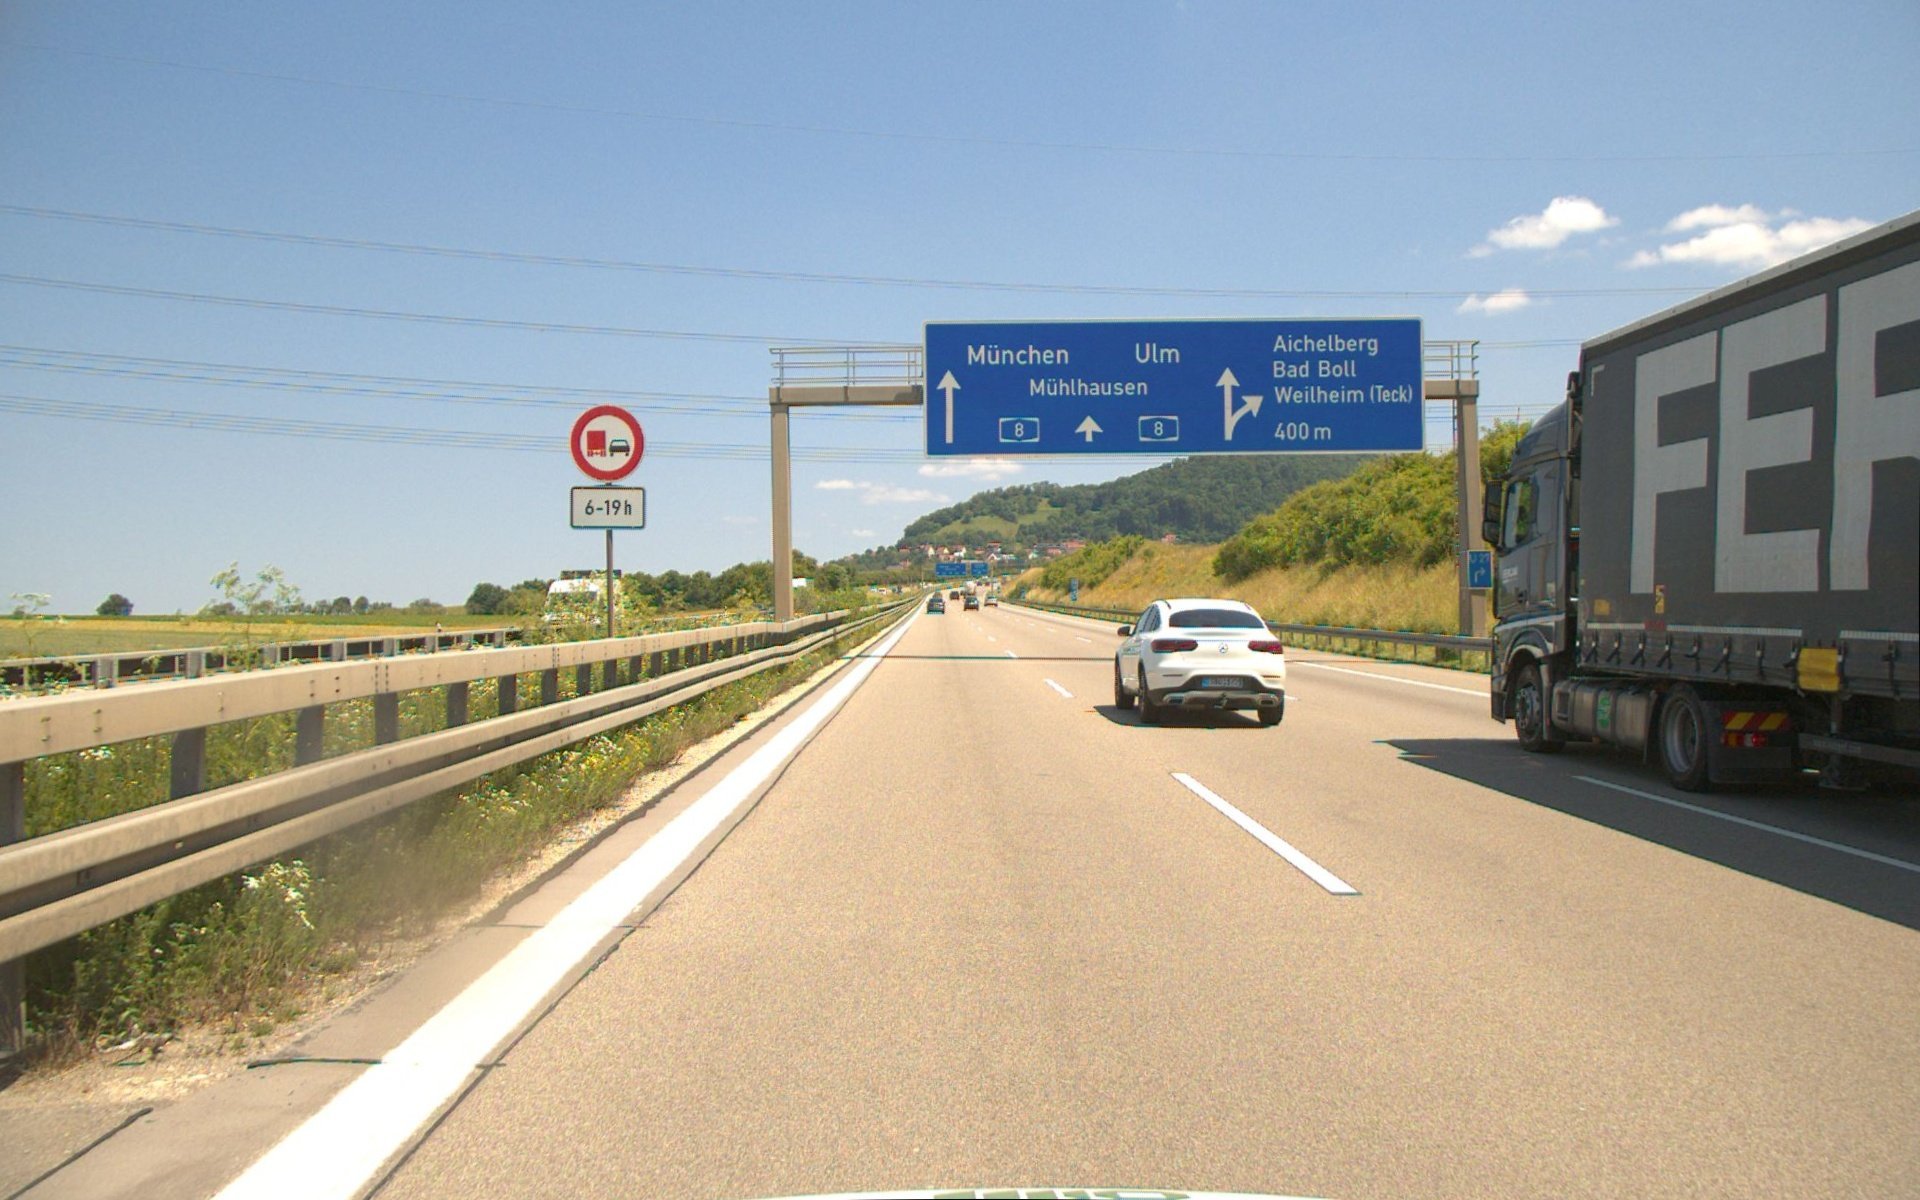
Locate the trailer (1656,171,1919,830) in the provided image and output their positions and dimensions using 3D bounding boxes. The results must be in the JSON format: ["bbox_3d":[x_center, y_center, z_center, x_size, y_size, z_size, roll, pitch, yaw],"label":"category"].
[{"bbox_3d":[7.514,-0.640,8.574,2.670,4.227,11.805,1,0,-1],"label":"trailer"}]

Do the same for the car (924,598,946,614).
[{"bbox_3d":[-2.322,0.581,153.248,1.953,1.413,3.999,1,0,0],"label":"car"}]

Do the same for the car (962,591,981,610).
[{"bbox_3d":[1.268,0.049,180.754,1.953,2.049,3.999,1,0,0],"label":"car"}]

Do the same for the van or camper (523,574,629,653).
[{"bbox_3d":[-13.240,0.441,57.484,2.182,2.552,6.596,1,0,-1],"label":"van or camper"}]

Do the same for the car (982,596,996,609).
[{"bbox_3d":[4.124,0.358,237.145,1.953,1.850,4.000,-1,0,0],"label":"car"}]

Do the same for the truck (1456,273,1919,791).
[{"bbox_3d":[7.372,-0.512,16.545,2.696,4.091,6.787,1,0,-1],"label":"truck"}]

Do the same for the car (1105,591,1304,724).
[{"bbox_3d":[3.248,0.731,23.037,1.875,1.608,5.229,1,0,-1],"label":"car"}]
